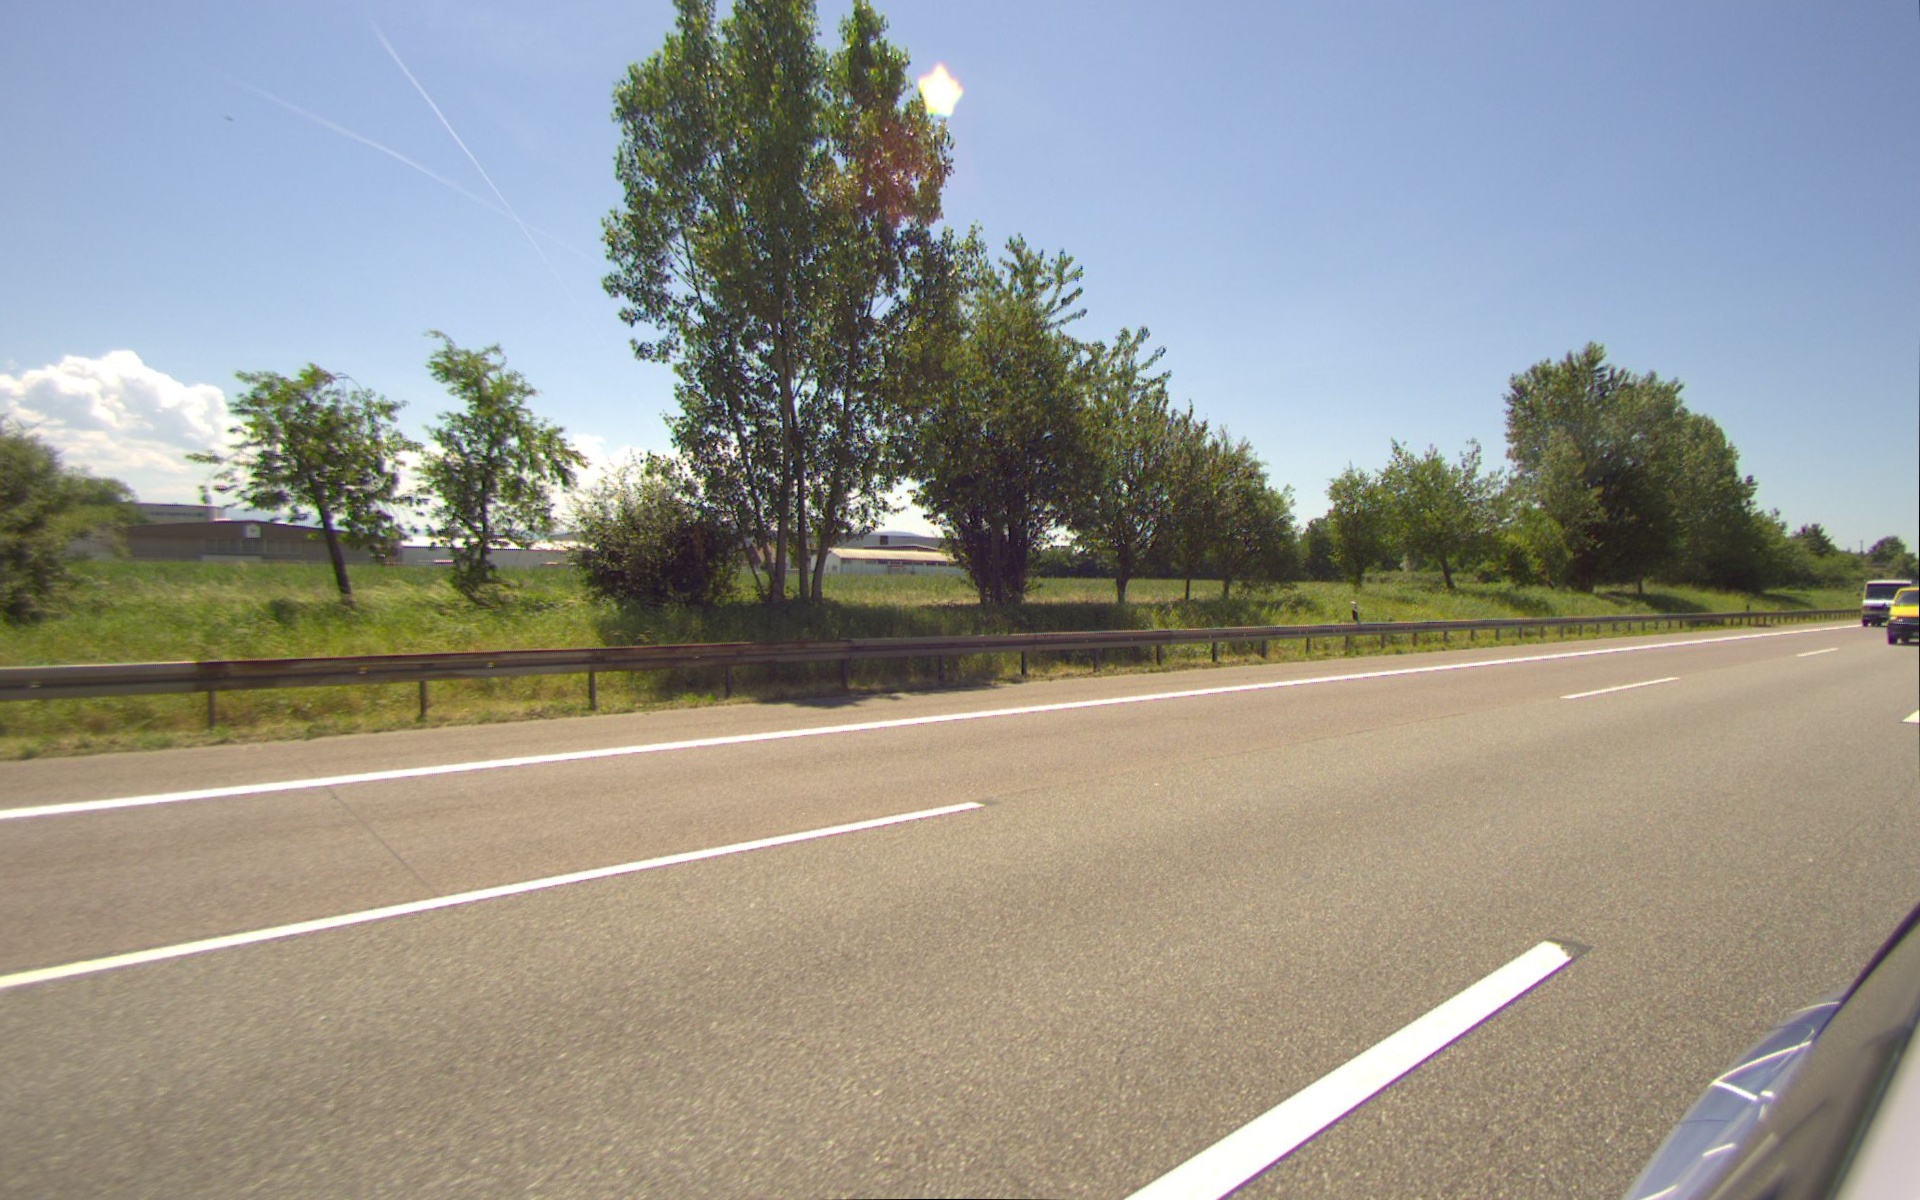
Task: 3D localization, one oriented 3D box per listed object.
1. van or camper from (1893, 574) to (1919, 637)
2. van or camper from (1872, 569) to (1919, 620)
[{"bbox_3d":[33.374,0.173,34.215,5.781,2.029,2.062,0,1,-41],"label":"van or camper"},{"bbox_3d":[53.297,-0.336,57.096,6.258,2.737,2.116,0,1,-42],"label":"van or camper"}]
